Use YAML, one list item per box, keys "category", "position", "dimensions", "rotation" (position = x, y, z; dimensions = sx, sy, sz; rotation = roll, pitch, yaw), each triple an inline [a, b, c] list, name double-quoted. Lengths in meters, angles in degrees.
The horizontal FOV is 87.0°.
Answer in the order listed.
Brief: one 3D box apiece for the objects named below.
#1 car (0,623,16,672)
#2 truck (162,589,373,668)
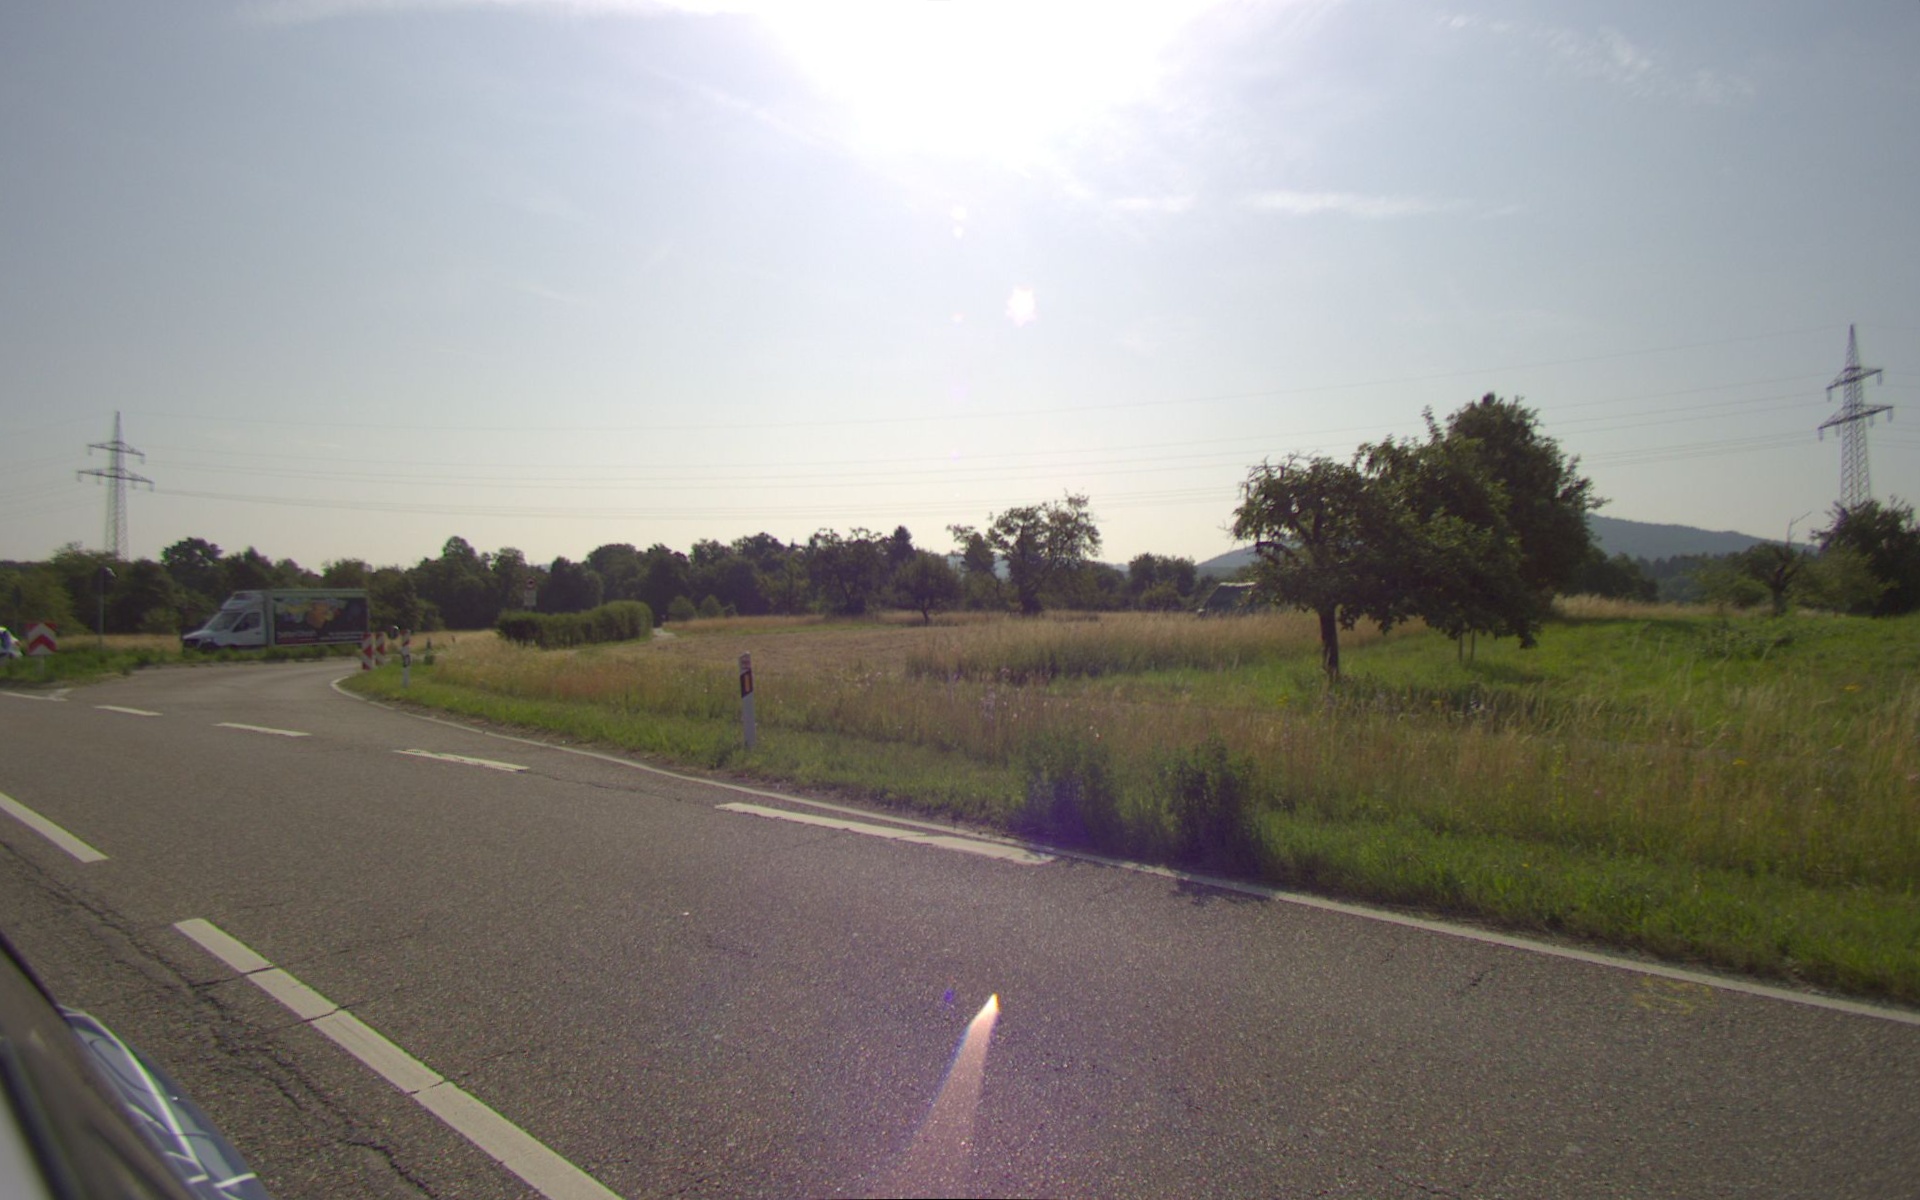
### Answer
- category: "car"
  position: [-32.878, 1.603, 32.046]
  dimensions: [1.984, 1.592, 3.885]
  rotation: [-2, 0, 18]
- category: "truck"
  position: [-29.484, 1.180, 43.537]
  dimensions: [2.567, 3.068, 7.309]
  rotation: [-2, -1, 22]
